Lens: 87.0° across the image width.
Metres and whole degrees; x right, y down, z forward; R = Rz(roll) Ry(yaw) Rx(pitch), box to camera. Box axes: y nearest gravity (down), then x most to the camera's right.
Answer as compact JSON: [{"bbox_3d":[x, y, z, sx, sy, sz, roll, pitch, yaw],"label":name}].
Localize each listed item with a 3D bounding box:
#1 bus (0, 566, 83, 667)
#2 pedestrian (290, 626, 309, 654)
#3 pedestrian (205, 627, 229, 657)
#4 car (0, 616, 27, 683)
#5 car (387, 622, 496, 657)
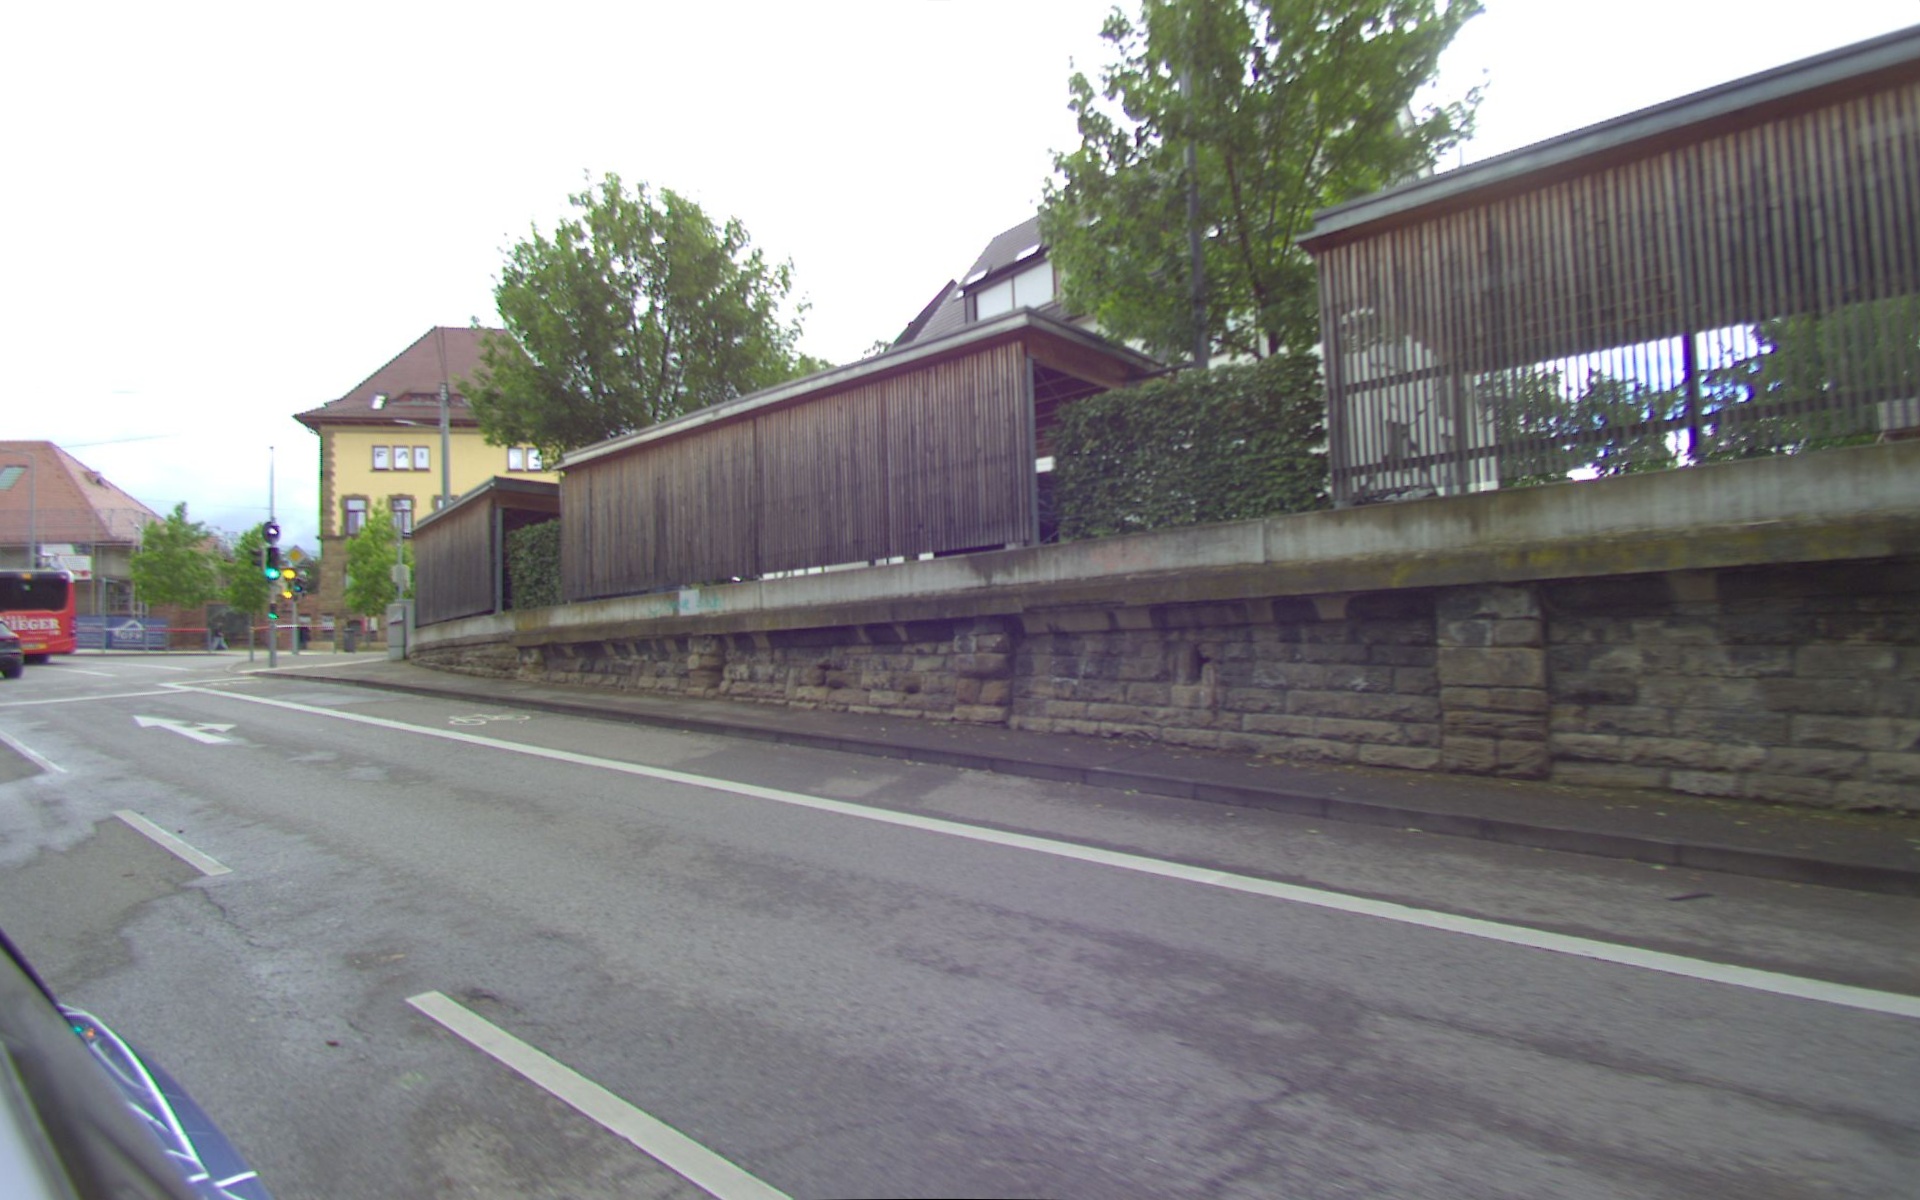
[{"bbox_3d":[-33.036,0.592,34.443,8.268,3.145,2.637,-1,0,33],"label":"bus"},{"bbox_3d":[-37.255,2.262,57.084,0.644,1.589,0.539,0,-2,2],"label":"pedestrian"},{"bbox_3d":[-43.027,2.411,58.606,0.785,1.733,0.928,1,-2,-11],"label":"pedestrian"},{"bbox_3d":[-25.906,1.264,25.908,4.509,1.642,1.907,-1,1,33],"label":"car"},{"bbox_3d":[-23.454,1.785,45.982,1.984,1.524,4.247,0,-2,18],"label":"car"}]
